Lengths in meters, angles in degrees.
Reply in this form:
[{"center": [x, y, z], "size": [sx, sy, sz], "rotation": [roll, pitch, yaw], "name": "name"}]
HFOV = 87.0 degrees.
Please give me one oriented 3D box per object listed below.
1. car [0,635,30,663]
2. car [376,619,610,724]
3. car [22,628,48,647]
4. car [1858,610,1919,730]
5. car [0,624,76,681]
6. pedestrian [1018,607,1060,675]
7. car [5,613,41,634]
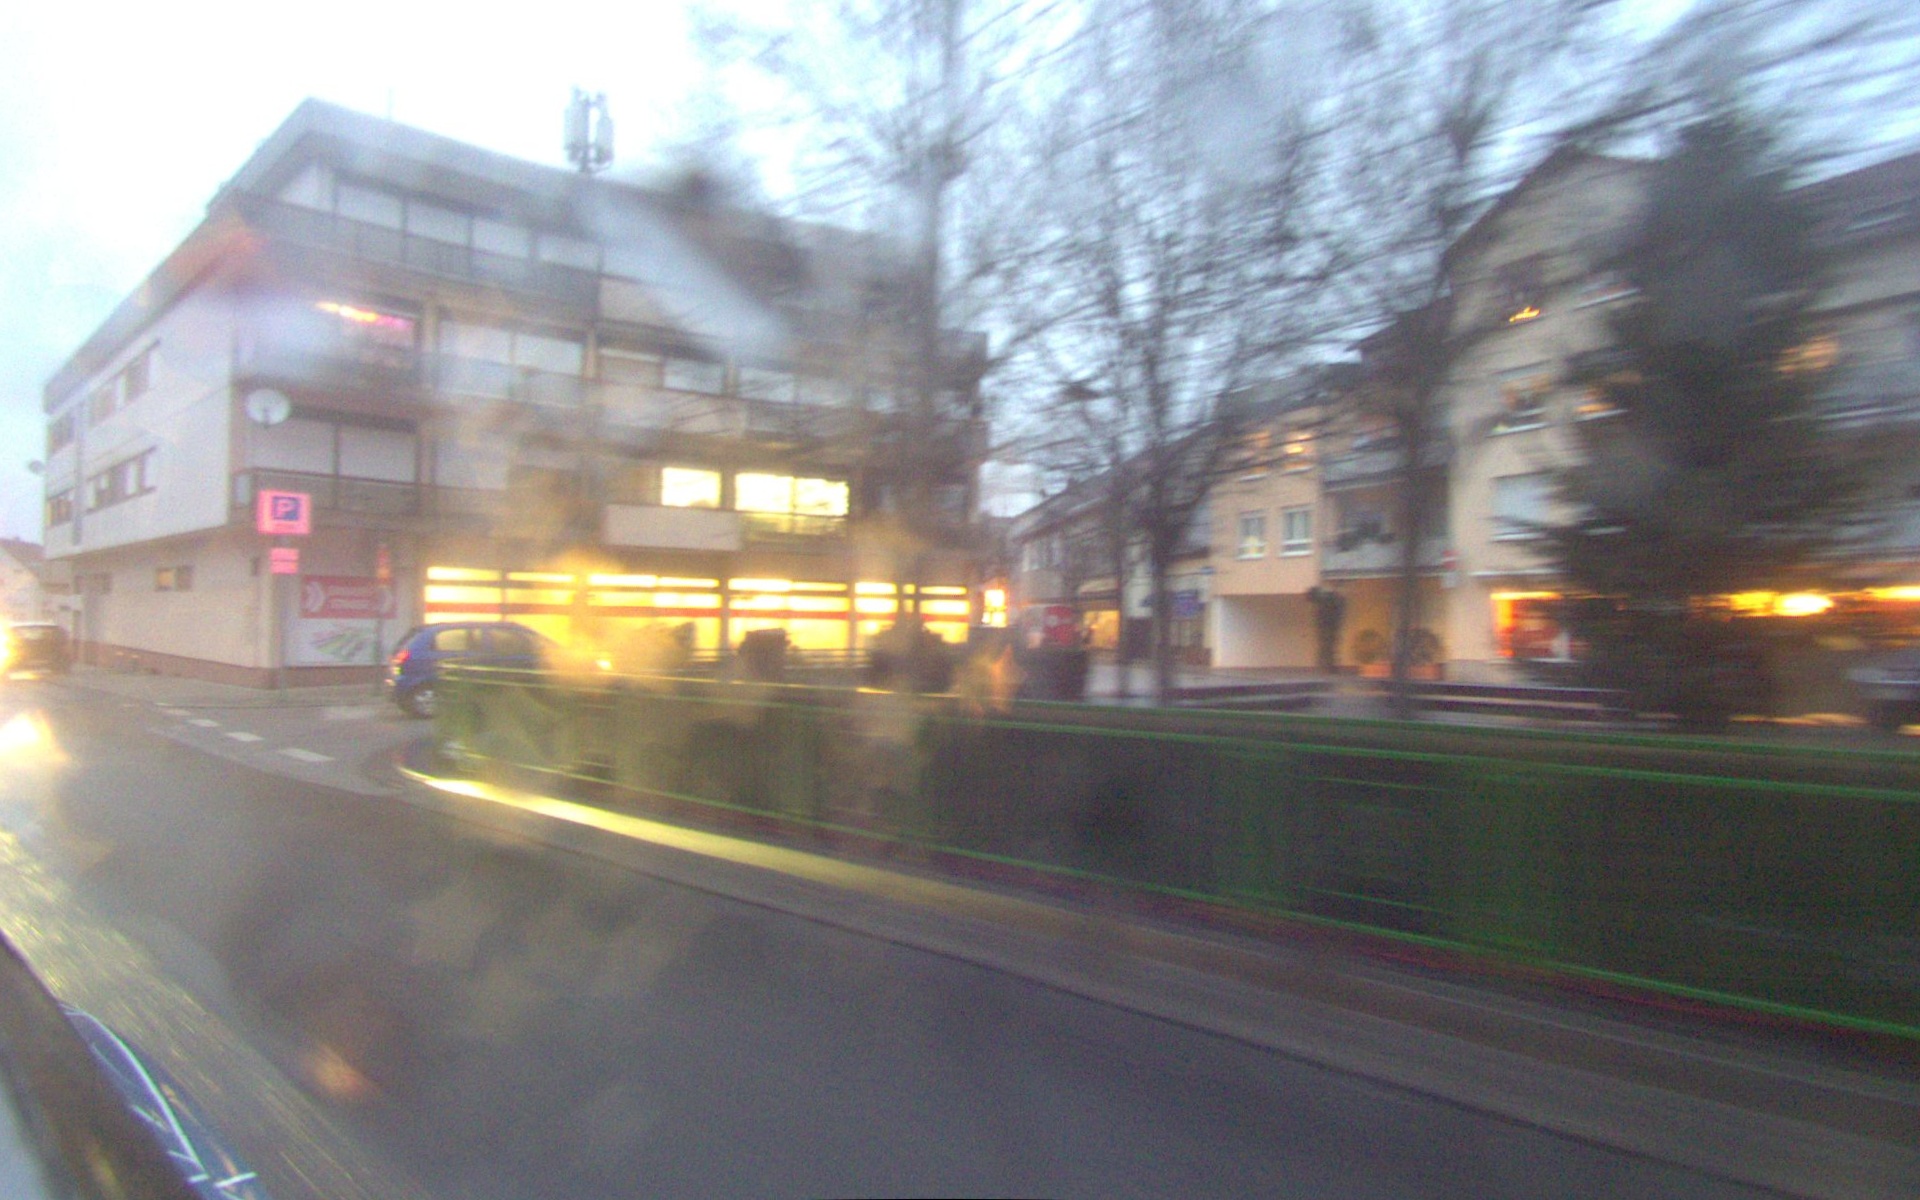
[{"center": [-60.187, 3.093, 64.098], "size": [1.866, 1.692, 4.005], "rotation": [0, -2, -42], "name": "car"}, {"center": [-7.620, 1.100, 16.581], "size": [3.256, 1.519, 1.505], "rotation": [0, -1, -36], "name": "car"}, {"center": [-102.020, 4.170, 111.627], "size": [1.808, 2.029, 3.708], "rotation": [0, -1, -37], "name": "car"}, {"center": [12.384, 0.770, 11.631], "size": [3.269, 1.339, 1.619], "rotation": [0, -2, -18], "name": "car"}, {"center": [-29.197, 1.609, 31.709], "size": [3.827, 1.629, 1.874], "rotation": [-2, -2, 43], "name": "car"}, {"center": [1.628, 0.831, 20.744], "size": [0.611, 1.349, 0.569], "rotation": [0, -2, -35], "name": "pedestrian"}, {"center": [-68.944, 1.719, 74.503], "size": [1.751, 1.460, 3.833], "rotation": [0, -1, -41], "name": "car"}]
